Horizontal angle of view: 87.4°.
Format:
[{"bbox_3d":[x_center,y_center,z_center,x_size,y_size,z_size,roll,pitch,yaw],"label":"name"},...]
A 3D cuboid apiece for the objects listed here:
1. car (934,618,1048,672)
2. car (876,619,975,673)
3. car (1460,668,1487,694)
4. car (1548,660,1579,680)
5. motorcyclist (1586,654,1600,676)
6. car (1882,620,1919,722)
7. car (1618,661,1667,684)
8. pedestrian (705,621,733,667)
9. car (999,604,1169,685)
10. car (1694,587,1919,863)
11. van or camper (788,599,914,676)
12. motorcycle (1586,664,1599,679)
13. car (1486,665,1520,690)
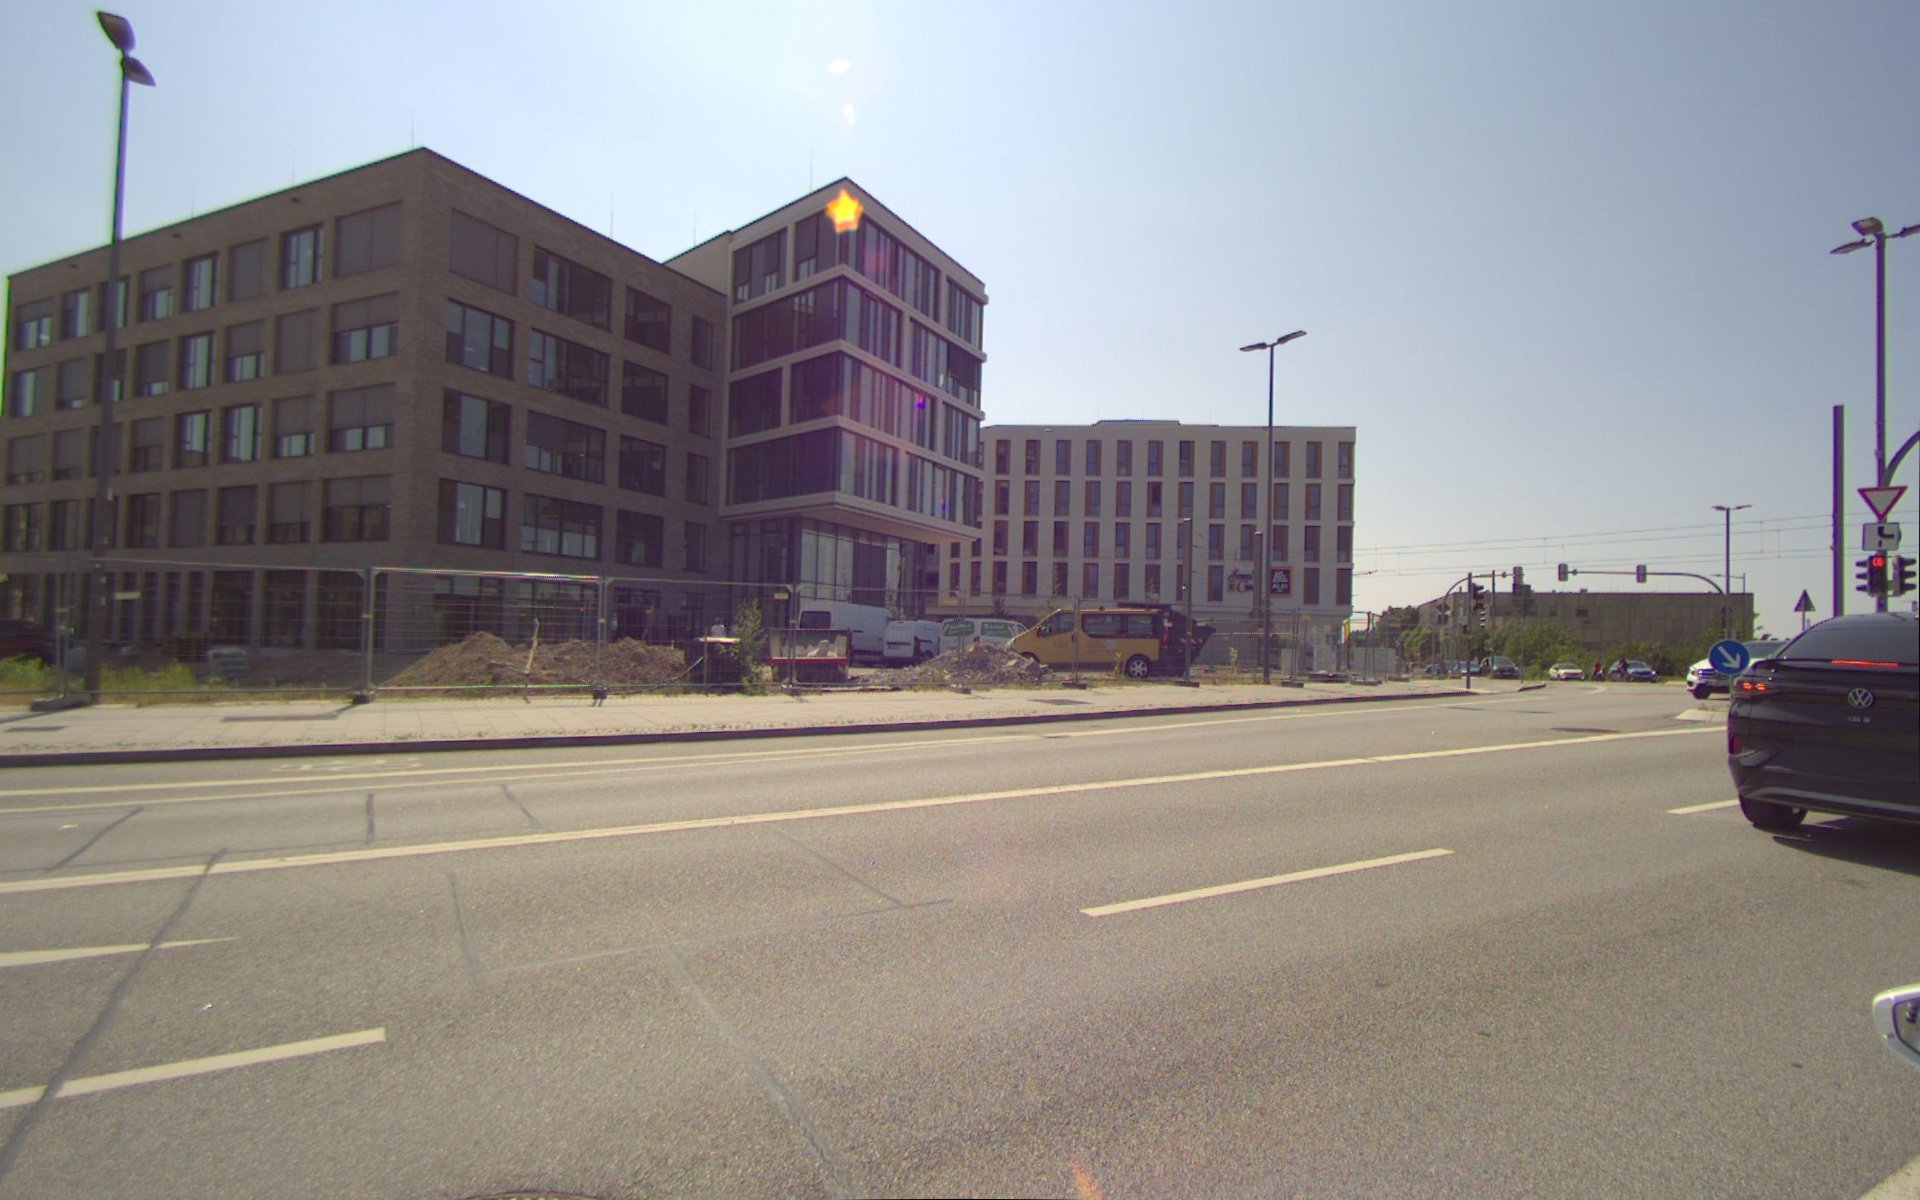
[{"bbox_3d":[1.208,1.616,36.747,1.841,1.797,4.637,2,0,37],"label":"car"},{"bbox_3d":[-1.255,1.716,38.067,1.761,1.881,3.839,2,0,34],"label":"car"},{"bbox_3d":[38.414,6.042,75.239,1.541,1.608,3.477,2,0,24],"label":"car"},{"bbox_3d":[47.404,5.476,78.958,1.578,1.357,2.924,2,0,21],"label":"car"},{"bbox_3d":[44.756,4.581,71.035,0.739,1.514,0.677,2,0,24],"label":"motorcyclist"},{"bbox_3d":[16.580,1.174,16.171,3.720,1.568,1.589,2,0,-32],"label":"car"},{"bbox_3d":[44.613,4.703,65.748,1.787,1.348,4.000,2,-2,21],"label":"car"},{"bbox_3d":[-9.314,1.691,38.797,0.734,1.741,0.699,2,0,17],"label":"pedestrian"},{"bbox_3d":[3.521,1.209,28.296,4.533,1.988,1.991,2,0,10],"label":"car"},{"bbox_3d":[7.537,0.828,7.416,4.314,1.663,1.793,2,0,-30],"label":"car"},{"bbox_3d":[-4.235,1.456,39.807,2.273,2.772,4.974,2,0,33],"label":"van or camper"},{"bbox_3d":[44.679,5.055,70.958,0.511,0.967,1.933,2,0,24],"label":"motorcycle"},{"bbox_3d":[36.276,5.144,67.147,1.646,1.496,3.405,0,-1,22],"label":"car"}]
